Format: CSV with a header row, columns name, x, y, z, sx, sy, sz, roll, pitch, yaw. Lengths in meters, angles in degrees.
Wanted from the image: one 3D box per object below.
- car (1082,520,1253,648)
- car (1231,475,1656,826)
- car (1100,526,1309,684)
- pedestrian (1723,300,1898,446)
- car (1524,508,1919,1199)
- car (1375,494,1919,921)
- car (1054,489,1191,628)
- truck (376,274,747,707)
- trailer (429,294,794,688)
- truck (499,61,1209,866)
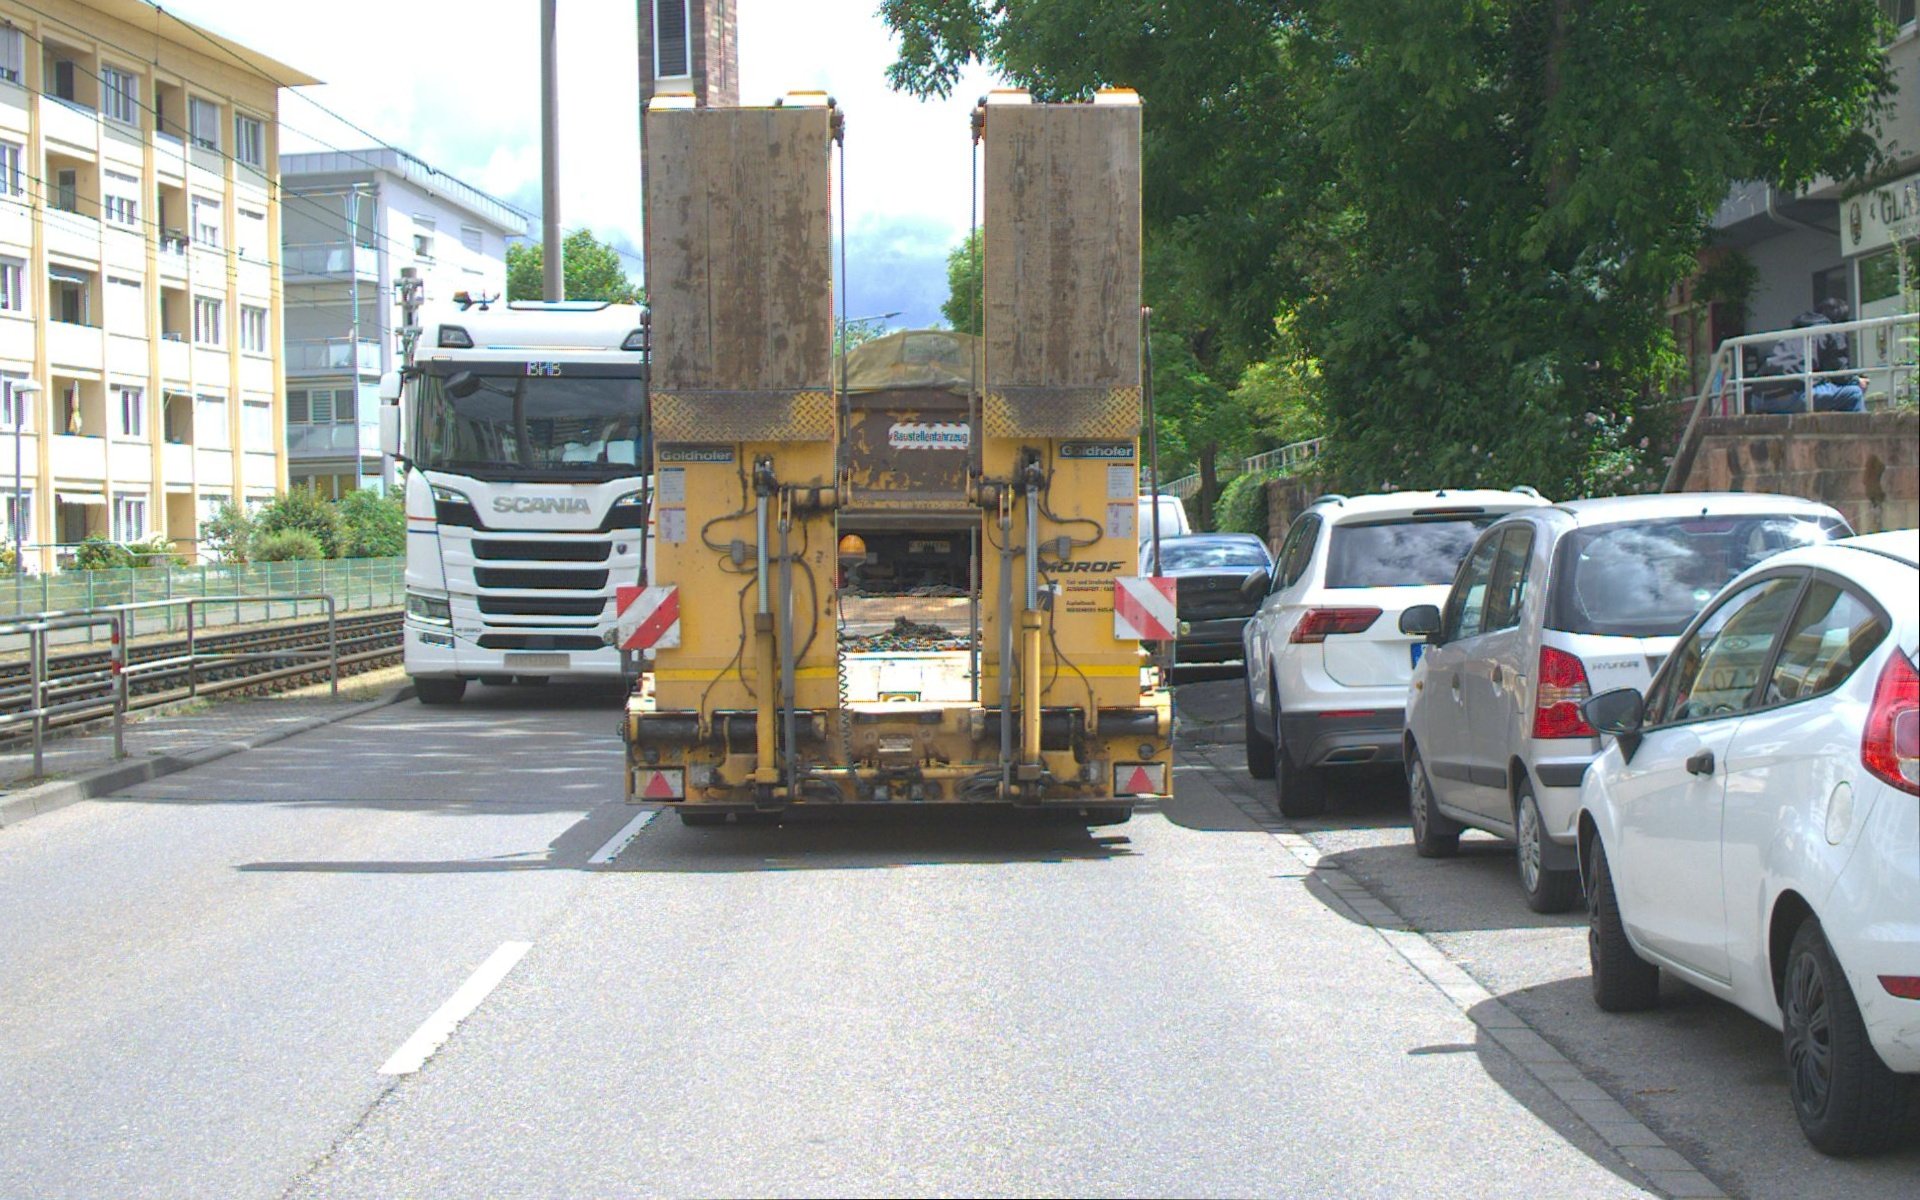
name,x,y,z,sx,sy,sz,roll,pitch,yaw
car,2.476,-0.235,41.793,1.690,1.400,4.069,-2,2,-1
car,2.551,0.179,19.142,1.824,1.676,4.576,-2,2,2
car,2.395,0.000,34.663,1.836,1.400,4.414,-2,2,1
pedestrian,4.779,-1.272,19.354,0.795,0.787,0.705,-1,2,-1
car,2.700,0.503,9.364,1.645,1.484,3.822,-1,2,-1
car,2.799,0.342,14.337,1.581,1.547,3.476,-1,2,-2
car,2.429,-0.673,52.388,1.799,1.961,4.590,-2,2,0
truck,-3.493,-0.996,31.518,2.698,3.568,6.145,0,2,0
trailer,-3.504,-1.195,38.136,2.698,3.568,13.676,0,2,0
truck,-0.497,-0.792,21.582,3.124,3.552,12.461,-1,2,0
